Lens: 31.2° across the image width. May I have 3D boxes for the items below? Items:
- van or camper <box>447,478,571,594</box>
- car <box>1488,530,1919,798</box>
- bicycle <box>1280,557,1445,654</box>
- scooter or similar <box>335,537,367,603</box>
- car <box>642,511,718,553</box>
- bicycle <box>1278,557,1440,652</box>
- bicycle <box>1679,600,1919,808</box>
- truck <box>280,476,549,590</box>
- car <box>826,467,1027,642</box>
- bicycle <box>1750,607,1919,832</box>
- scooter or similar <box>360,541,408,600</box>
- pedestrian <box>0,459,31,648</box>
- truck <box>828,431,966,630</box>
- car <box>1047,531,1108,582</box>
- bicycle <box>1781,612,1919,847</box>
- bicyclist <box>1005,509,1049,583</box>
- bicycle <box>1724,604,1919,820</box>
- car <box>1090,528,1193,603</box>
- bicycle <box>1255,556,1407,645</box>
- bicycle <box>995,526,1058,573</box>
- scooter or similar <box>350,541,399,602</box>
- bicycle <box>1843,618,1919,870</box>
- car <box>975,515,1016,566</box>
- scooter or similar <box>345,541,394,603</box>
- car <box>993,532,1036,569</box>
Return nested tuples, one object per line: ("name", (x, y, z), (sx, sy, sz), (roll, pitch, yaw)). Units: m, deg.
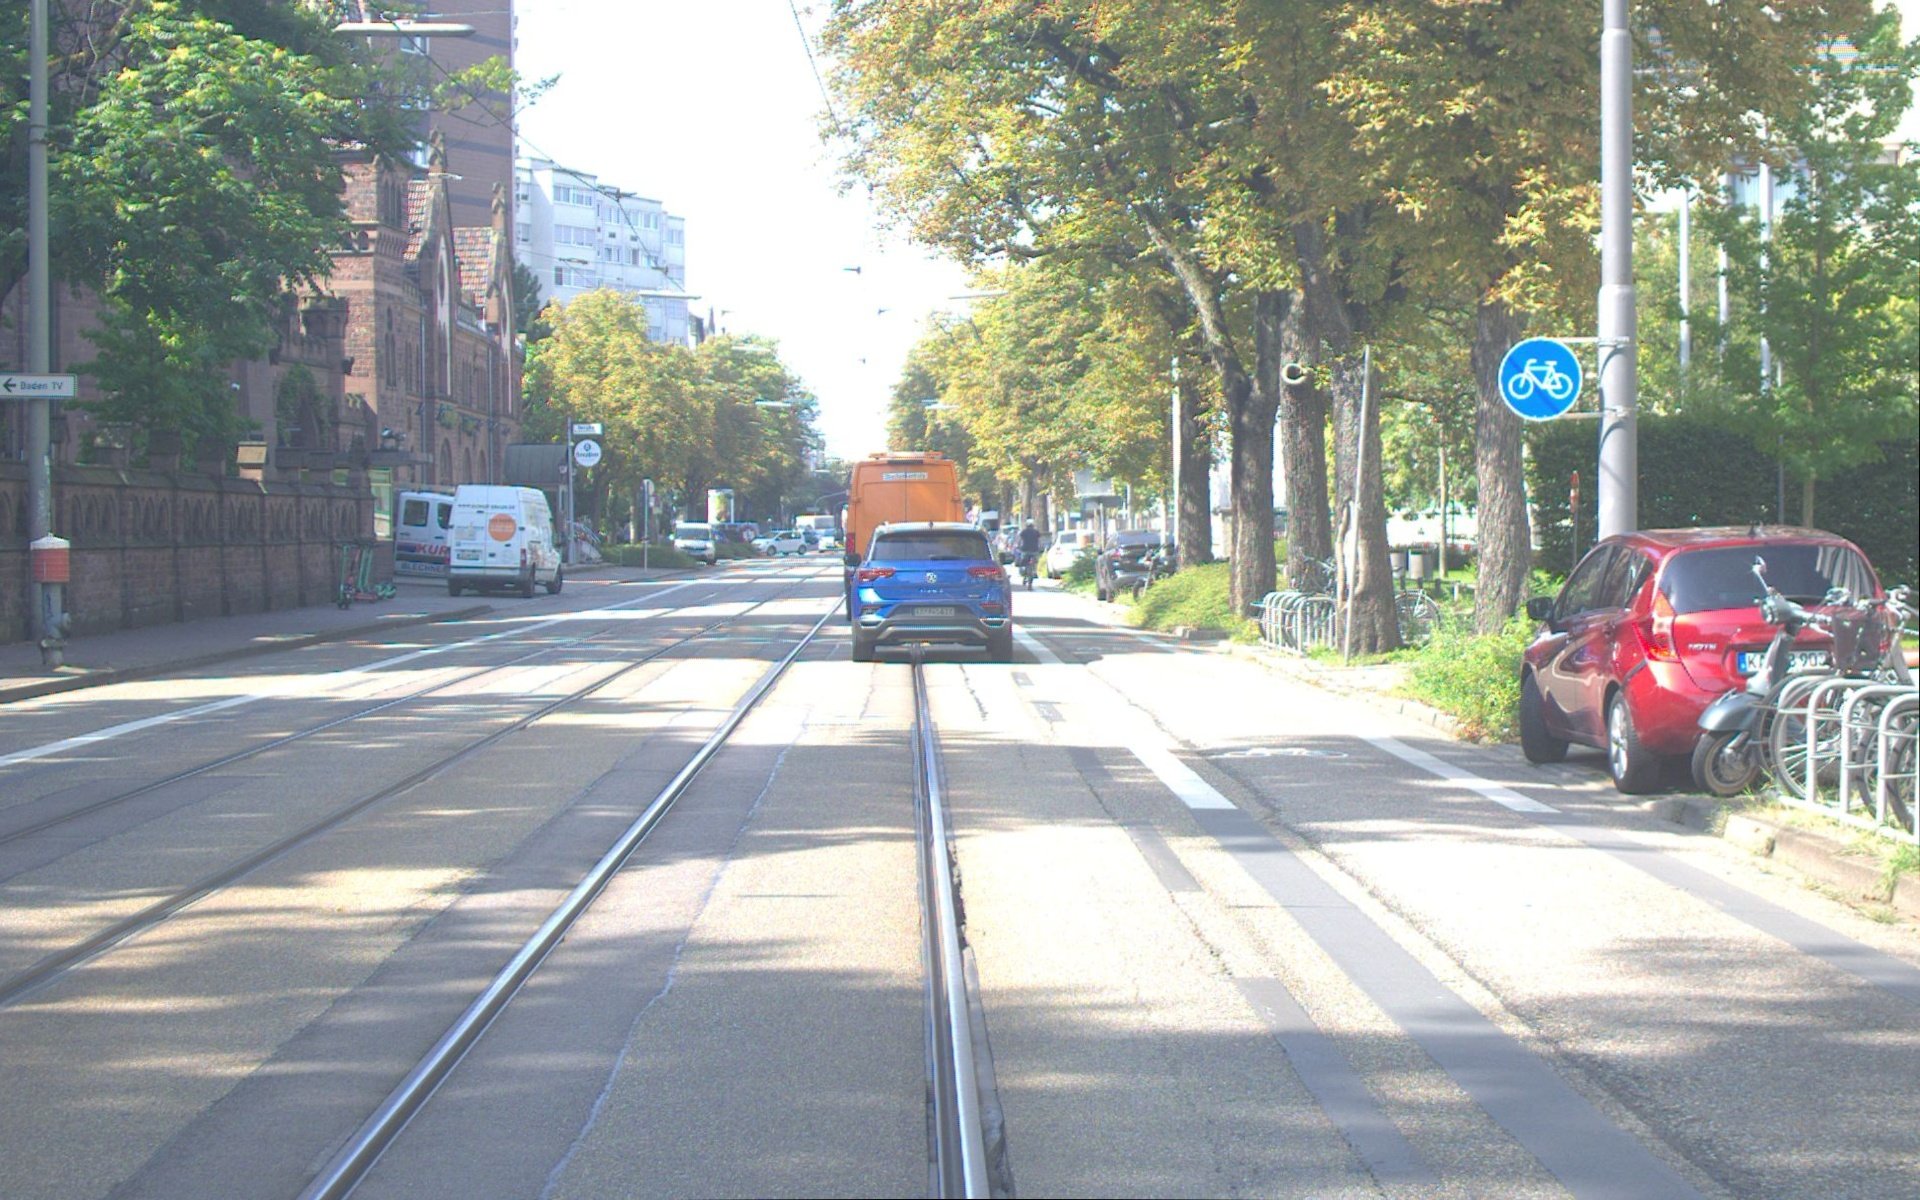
("van or camper", (-10.748, -1.532, 82.285), (2.113, 2.666, 5.955), (0, 1, 1))
("car", (4.509, 0.312, 21.242), (1.755, 1.457, 4.275), (-1, 1, -1))
("bicycle", (4.542, 0.060, 38.813), (1.771, 1.046, 0.541), (-1, 1, -1))
("scooter or similar", (-11.012, -0.554, 62.127), (0.420, 1.174, 1.317), (0, 1, -16))
("car", (-12.330, -2.993, 150.967), (1.747, 1.790, 4.000), (0, 1, -31))
("bicycle", (4.575, 0.048, 39.492), (1.771, 1.046, 0.541), (-1, 1, -1))
("bicycle", (4.832, 0.549, 18.553), (1.771, 1.068, 0.541), (-1, 1, -1))
("truck", (-13.800, -1.724, 87.111), (6.321, 2.529, 2.131), (3, 2, 4))
("car", (-0.388, -0.537, 39.813), (2.135, 1.852, 5.568), (-1, 1, -1))
("bicycle", (4.889, 0.577, 17.105), (1.771, 1.068, 0.541), (-1, 1, -1))
("scooter or similar", (-11.513, -0.589, 68.733), (0.340, 1.174, 1.176), (1, 1, 25))
("pedestrian", (-10.585, -0.506, 37.149), (0.864, 2.007, 0.983), (0, 1, -3))
("truck", (-1.028, -1.152, 57.251), (2.135, 3.113, 6.085), (-1, 1, -1))
("car", (3.546, -1.318, 103.978), (1.659, 1.476, 4.217), (-1, 1, 0))
("bicycle", (4.850, 0.592, 16.293), (1.771, 1.068, 0.541), (-1, 1, -1))
("bicyclist", (1.640, -1.328, 84.277), (1.031, 1.806, 1.016), (0, 1, -1))
("bicycle", (4.905, 0.564, 17.780), (1.771, 1.068, 0.541), (-1, 1, -1))
("car", (3.826, -0.757, 73.100), (1.755, 1.510, 4.610), (-1, 1, -2))
("bicycle", (4.520, 0.001, 41.971), (1.771, 1.046, 0.541), (-1, 1, -1))
("bicycle", (1.603, -1.251, 84.294), (1.401, 1.130, 4.000), (0, 1, -1))
("scooter or similar", (-11.512, -0.568, 67.599), (0.340, 1.174, 1.176), (1, 1, 25))
("bicycle", (4.866, 0.612, 15.192), (1.771, 1.068, 0.541), (-1, 1, -1))
("car", (1.903, -3.276, 188.195), (1.993, 2.746, 5.762), (0, 1, -2))
("scooter or similar", (-11.406, -0.546, 66.427), (0.340, 1.174, 1.176), (1, 1, 25))
("car", (2.486, -2.277, 157.093), (1.740, 1.662, 4.362), (0, 1, -2))
